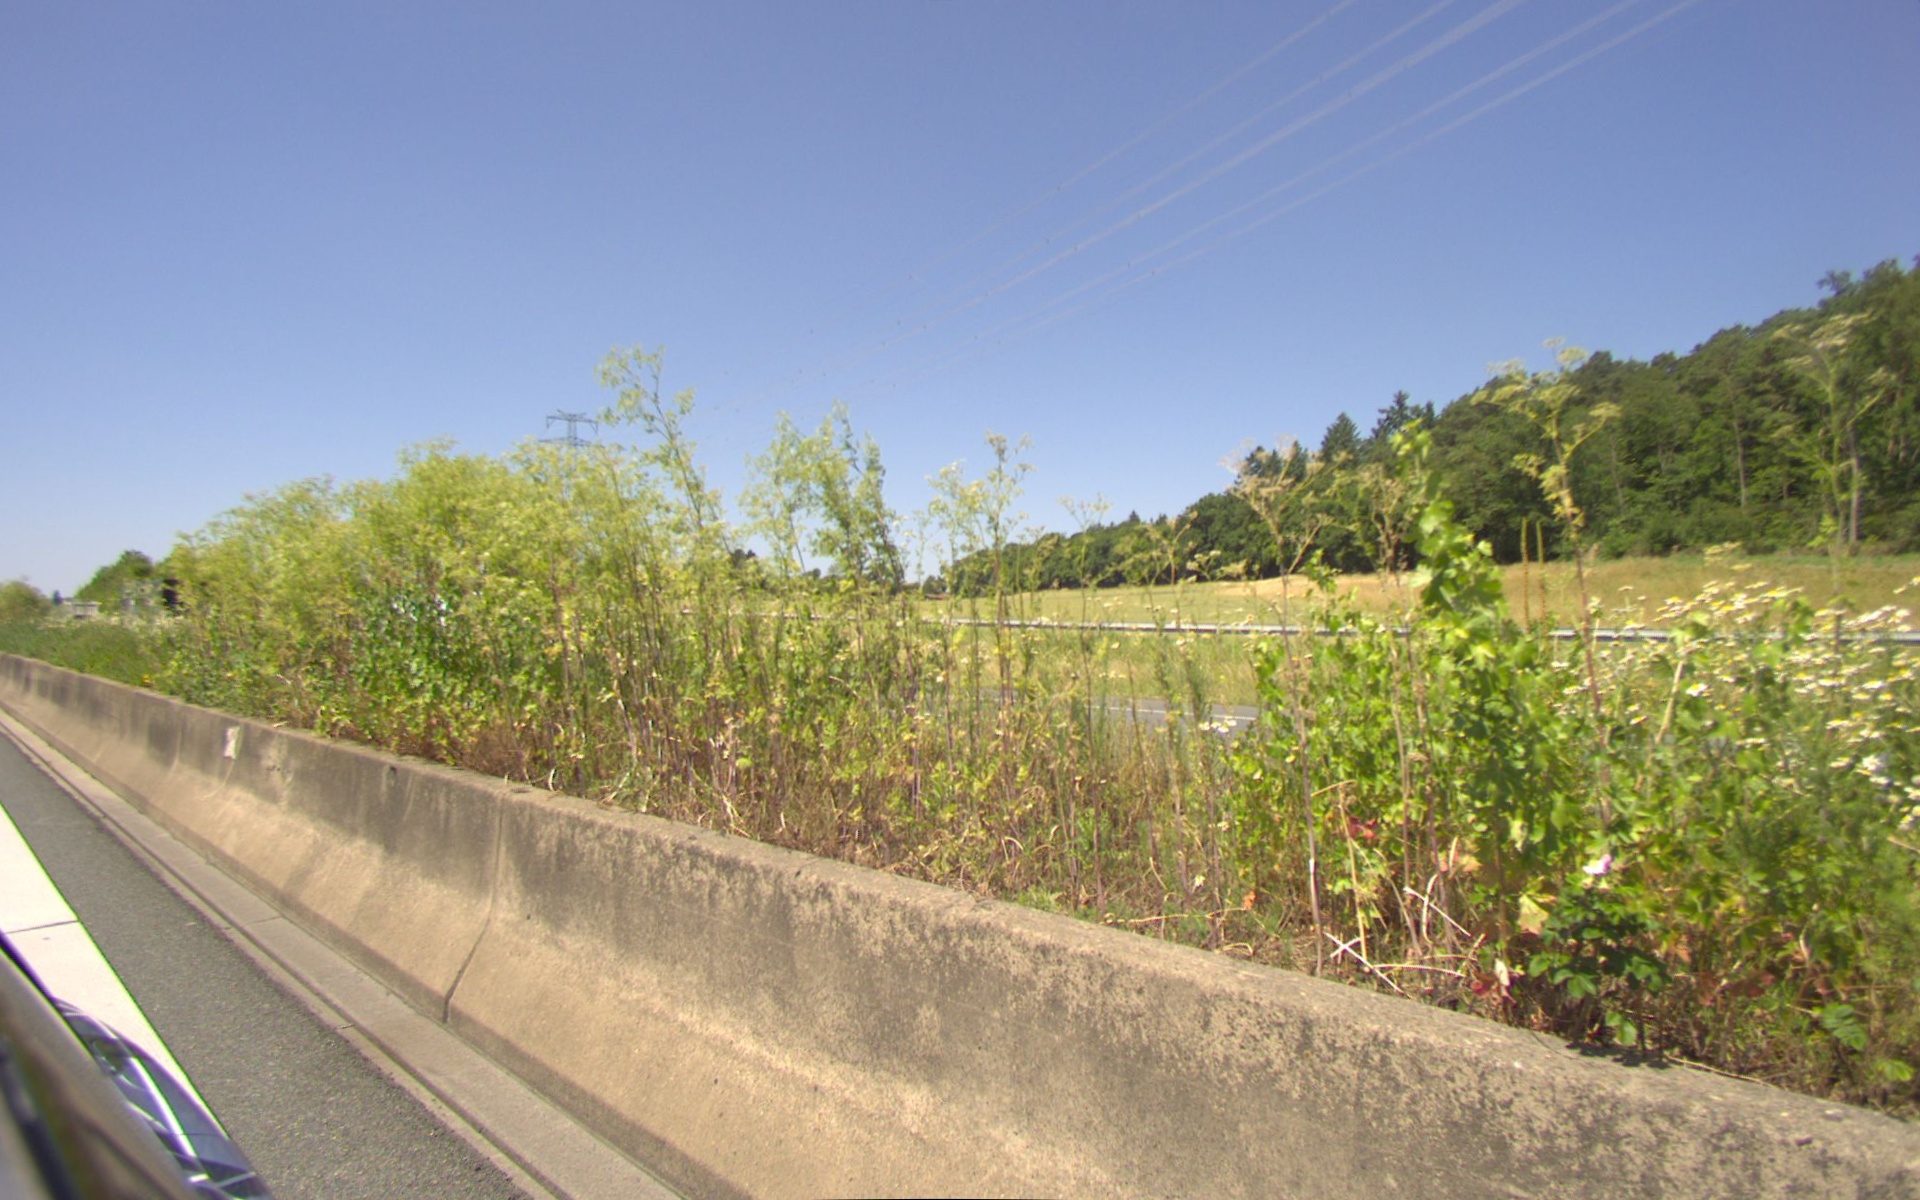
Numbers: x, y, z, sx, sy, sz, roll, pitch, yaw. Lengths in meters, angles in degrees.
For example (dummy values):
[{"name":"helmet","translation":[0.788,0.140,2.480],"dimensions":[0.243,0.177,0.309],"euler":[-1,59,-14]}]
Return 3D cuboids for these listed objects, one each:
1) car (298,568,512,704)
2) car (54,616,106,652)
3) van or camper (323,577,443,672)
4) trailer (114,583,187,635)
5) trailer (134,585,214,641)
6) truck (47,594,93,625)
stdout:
[{"name":"car","translation":[-10.158,0.593,18.369],"dimensions":[4.598,2.163,1.973],"euler":[-1,-1,41]},{"name":"car","translation":[-44.884,1.704,51.589],"dimensions":[3.687,1.767,1.564],"euler":[-1,-2,42]},{"name":"van or camper","translation":[-18.891,0.781,33.065],"dimensions":[4.648,2.882,2.026],"euler":[-1,-2,42]},{"name":"trailer","translation":[-62.245,0.753,77.753],"dimensions":[7.867,3.787,3.091],"euler":[-1,-2,42]},{"name":"trailer","translation":[-56.351,0.973,72.467],"dimensions":[8.198,3.790,3.149],"euler":[-1,-2,42]},{"name":"truck","translation":[-100.227,1.091,113.894],"dimensions":[11.820,3.313,2.734],"euler":[-1,-2,44]}]
